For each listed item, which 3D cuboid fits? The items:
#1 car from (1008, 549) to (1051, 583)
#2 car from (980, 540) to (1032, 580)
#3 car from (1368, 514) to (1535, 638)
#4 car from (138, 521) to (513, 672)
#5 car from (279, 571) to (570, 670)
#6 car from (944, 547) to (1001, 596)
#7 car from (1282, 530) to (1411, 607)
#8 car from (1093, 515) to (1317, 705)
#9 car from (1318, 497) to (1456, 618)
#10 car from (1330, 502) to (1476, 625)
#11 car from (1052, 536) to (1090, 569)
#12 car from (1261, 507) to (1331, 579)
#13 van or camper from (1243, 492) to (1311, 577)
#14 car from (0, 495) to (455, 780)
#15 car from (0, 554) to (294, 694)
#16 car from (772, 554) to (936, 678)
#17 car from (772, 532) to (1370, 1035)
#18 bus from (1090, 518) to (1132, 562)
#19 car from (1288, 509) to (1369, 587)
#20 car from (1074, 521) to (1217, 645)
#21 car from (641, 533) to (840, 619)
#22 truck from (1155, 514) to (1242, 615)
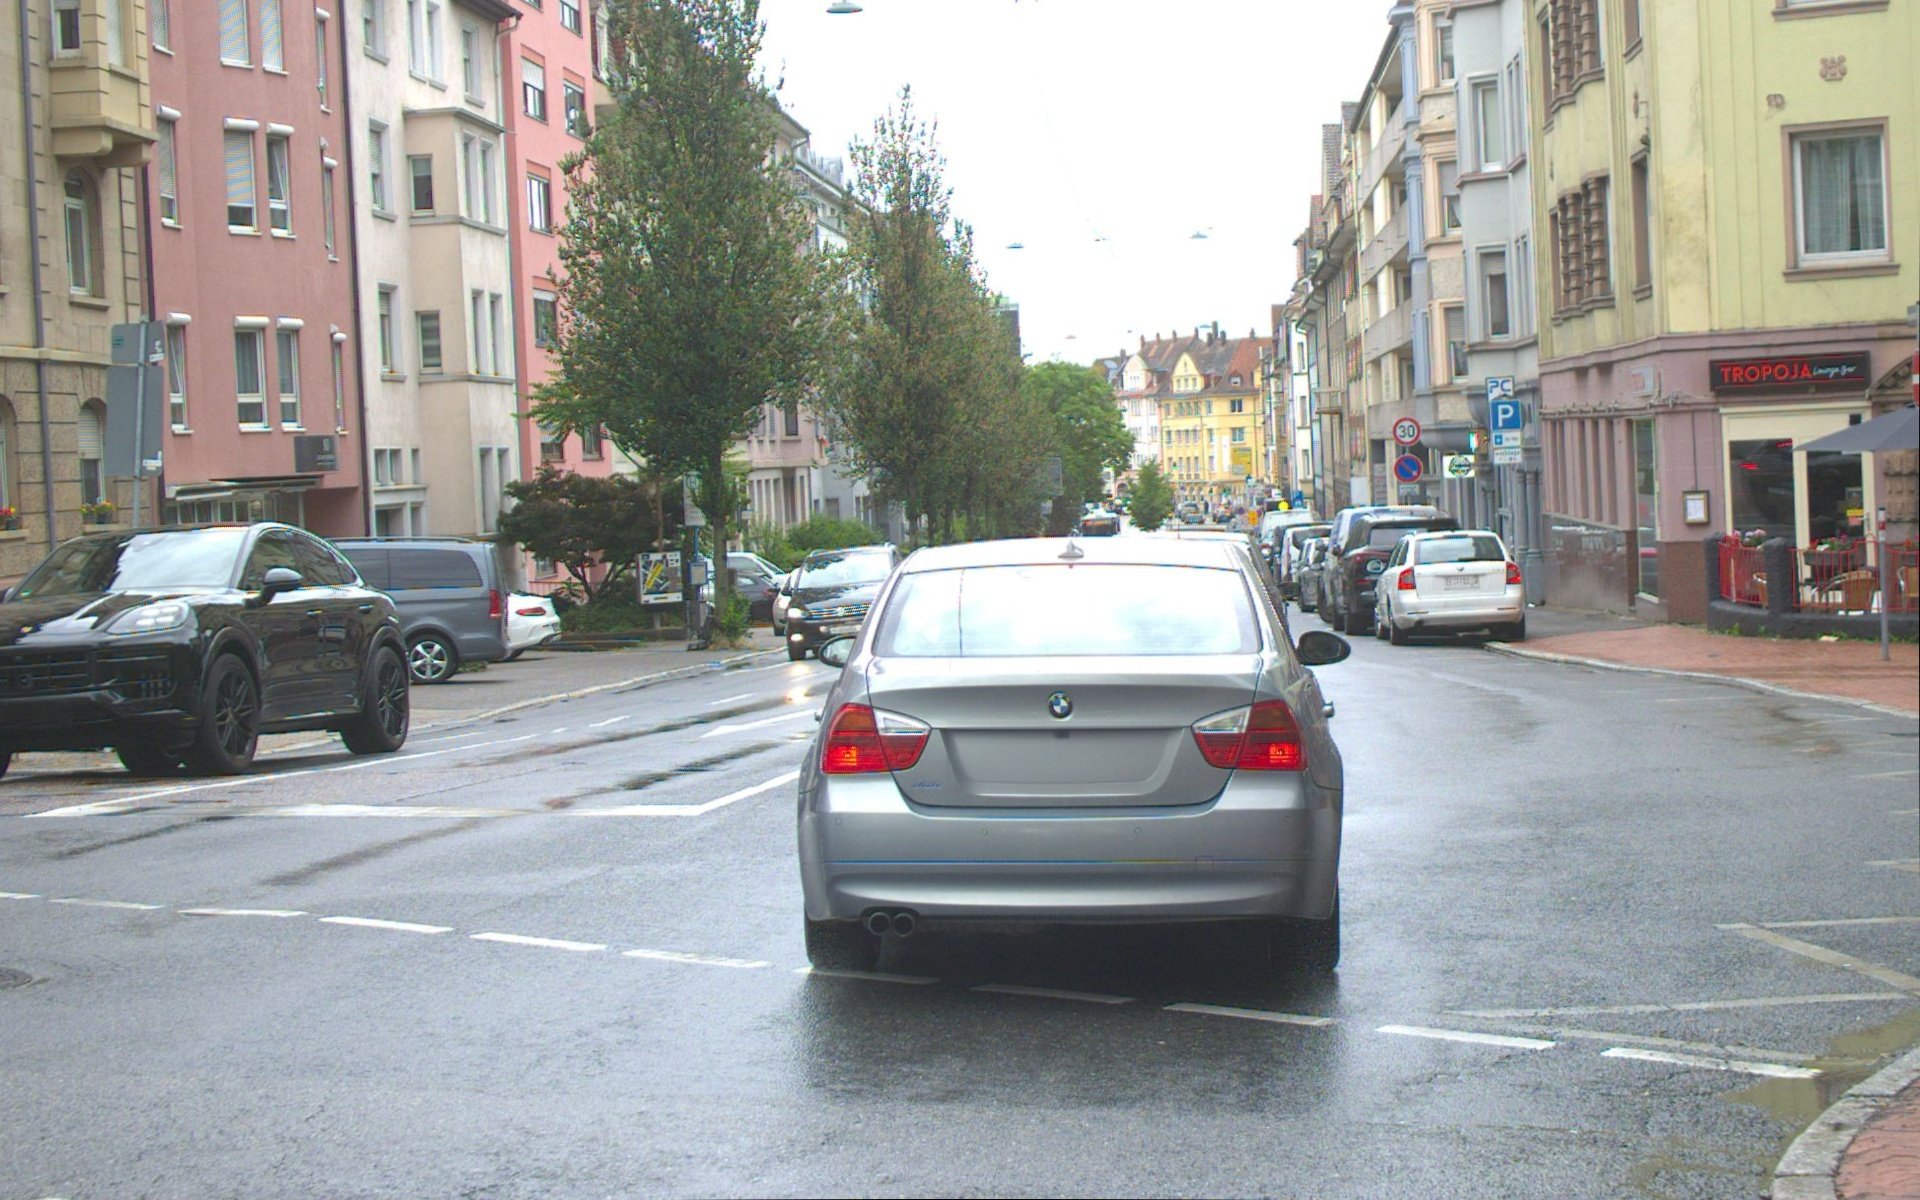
[{"bbox_3d":[3.347,-1.639,164.713,1.691,1.518,3.736,-4,1,5],"label":"car"},{"bbox_3d":[1.953,-1.679,144.439,1.828,1.518,3.736,-4,1,5],"label":"car"},{"bbox_3d":[6.471,-0.332,45.642,1.799,1.559,4.492,0,1,3],"label":"car"},{"bbox_3d":[-8.267,-0.073,45.133,4.673,1.932,1.864,0,1,-5],"label":"car"},{"bbox_3d":[-9.070,0.334,58.451,4.548,1.396,1.767,-3,1,4],"label":"car"},{"bbox_3d":[0.464,-1.029,122.999,1.767,1.588,4.000,-4,1,3],"label":"car"},{"bbox_3d":[7.704,-0.634,68.901,1.875,1.462,4.775,-1,0,-2],"label":"car"},{"bbox_3d":[2.025,0.058,27.885,1.682,1.423,3.740,-1,0,5],"label":"car"},{"bbox_3d":[7.045,-0.714,57.156,1.919,1.821,5.008,-3,1,4],"label":"car"},{"bbox_3d":[6.524,-0.550,51.057,1.879,1.725,4.676,0,1,4],"label":"car"},{"bbox_3d":[5.526,-2.365,170.480,1.636,1.503,3.754,-5,0,4],"label":"car"},{"bbox_3d":[10.722,-1.807,109.958,1.982,2.158,4.749,-3,1,4],"label":"car"},{"bbox_3d":[11.132,-2.284,120.452,2.034,2.859,6.883,1,1,8],"label":"van or camper"},{"bbox_3d":[-5.189,0.233,23.008,1.966,1.687,4.805,-1,0,13],"label":"car"},{"bbox_3d":[-10.044,0.278,39.927,4.148,1.505,1.873,-1,1,5],"label":"car"},{"bbox_3d":[-1.551,0.206,51.952,1.621,1.643,4.418,-5,0,8],"label":"car"},{"bbox_3d":[0.346,0.511,12.094,1.769,1.423,3.741,0,2,1],"label":"car"},{"bbox_3d":[11.069,-4.381,251.705,2.669,3.014,7.669,-3,1,4],"label":"bus"},{"bbox_3d":[10.203,-1.435,95.409,1.982,2.000,4.624,-3,1,4],"label":"car"},{"bbox_3d":[2.376,-0.218,43.403,1.698,1.478,3.793,-1,0,4],"label":"car"},{"bbox_3d":[-5.687,-0.632,89.520,4.829,1.967,2.048,-3,0,4],"label":"car"},{"bbox_3d":[5.841,-0.859,84.539,2.032,2.404,4.826,-1,0,3],"label":"truck"}]
